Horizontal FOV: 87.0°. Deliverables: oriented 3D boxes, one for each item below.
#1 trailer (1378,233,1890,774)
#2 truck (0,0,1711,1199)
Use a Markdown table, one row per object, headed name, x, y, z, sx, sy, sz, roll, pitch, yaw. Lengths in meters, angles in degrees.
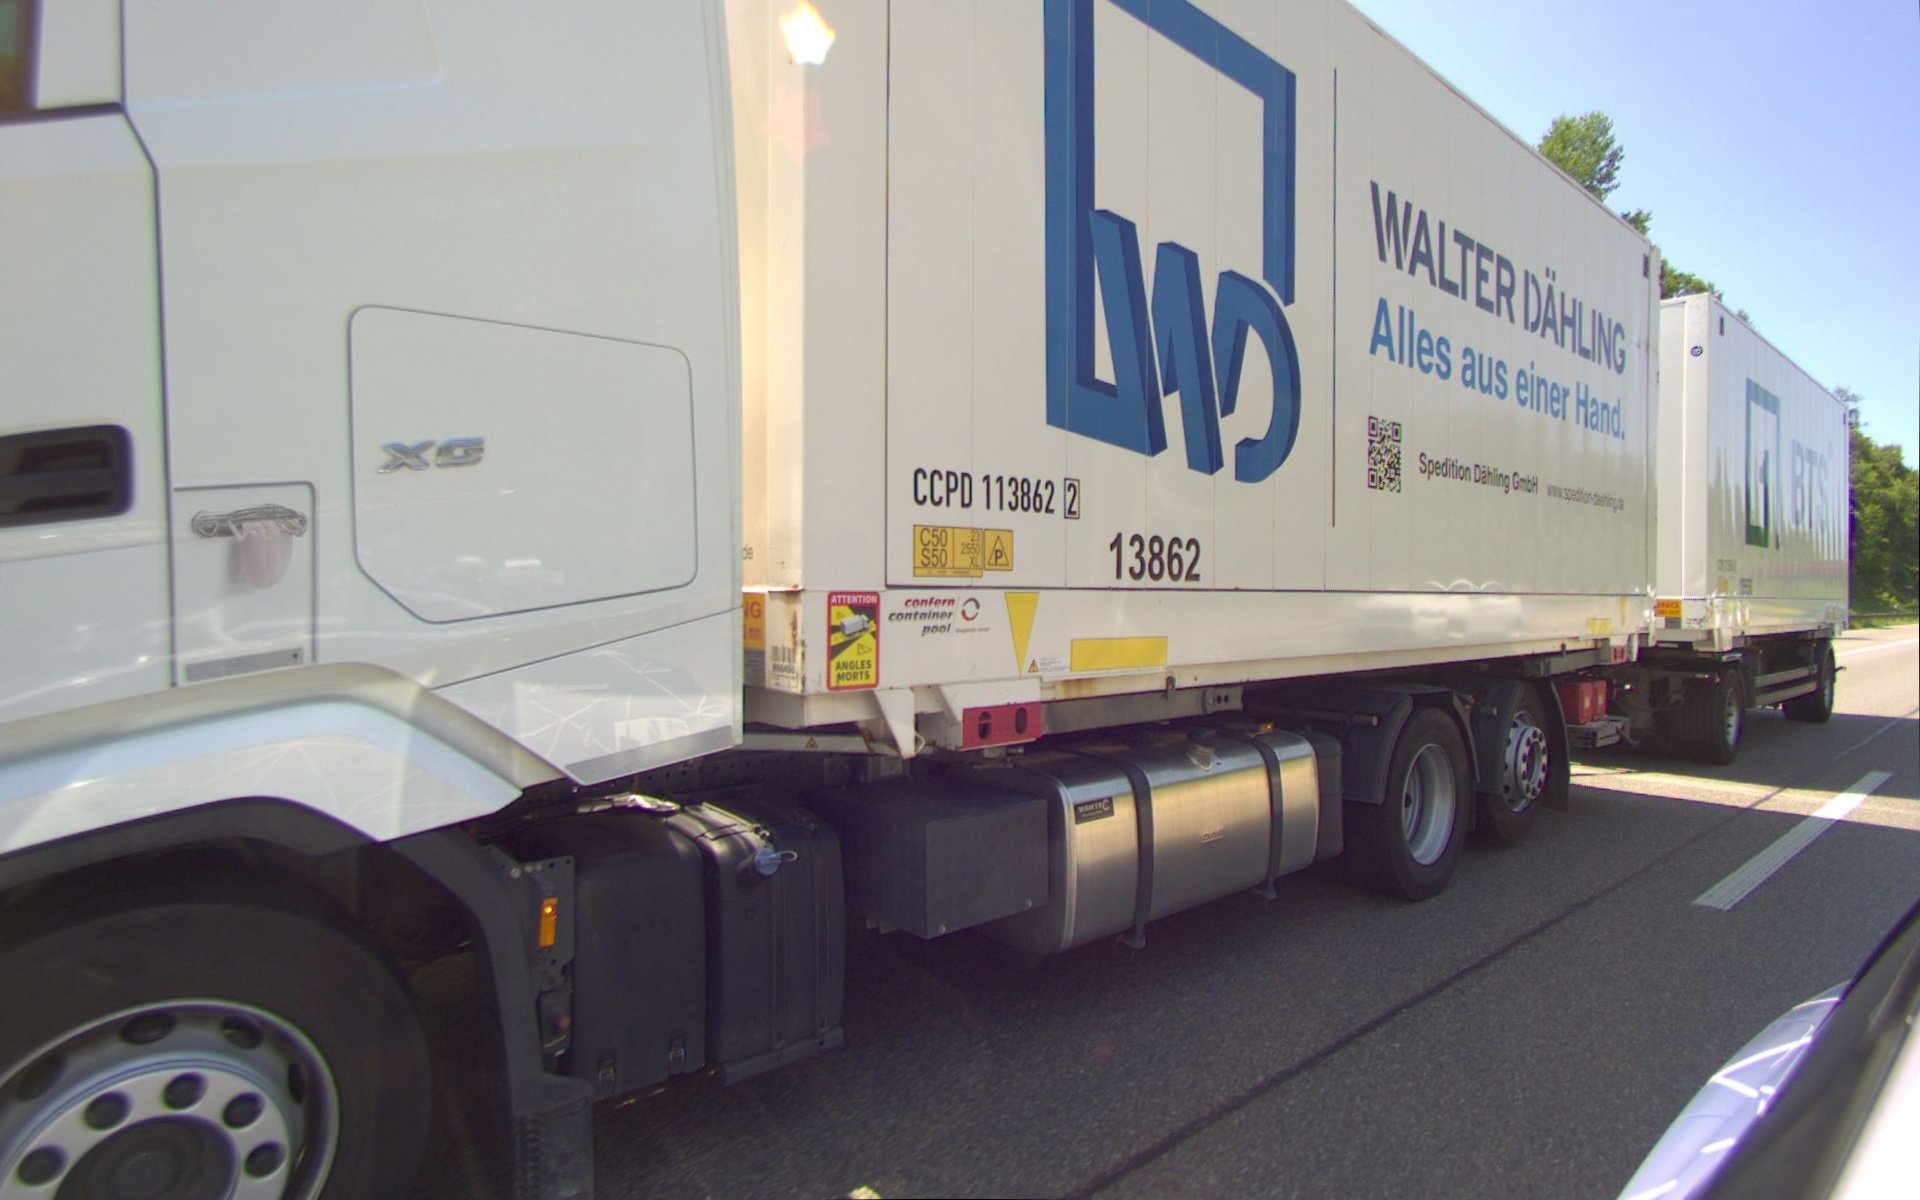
| name | x | y | z | sx | sy | sz | roll | pitch | yaw |
| --- | --- | --- | --- | --- | --- | --- | --- | --- | --- |
| trailer | 8.710 | -0.693 | 12.211 | 9.889 | 4.229 | 2.684 | 1 | -1 | -42 |
| truck | 0.946 | -0.717 | 5.385 | 10.438 | 4.111 | 2.685 | 1 | -1 | -41 |
